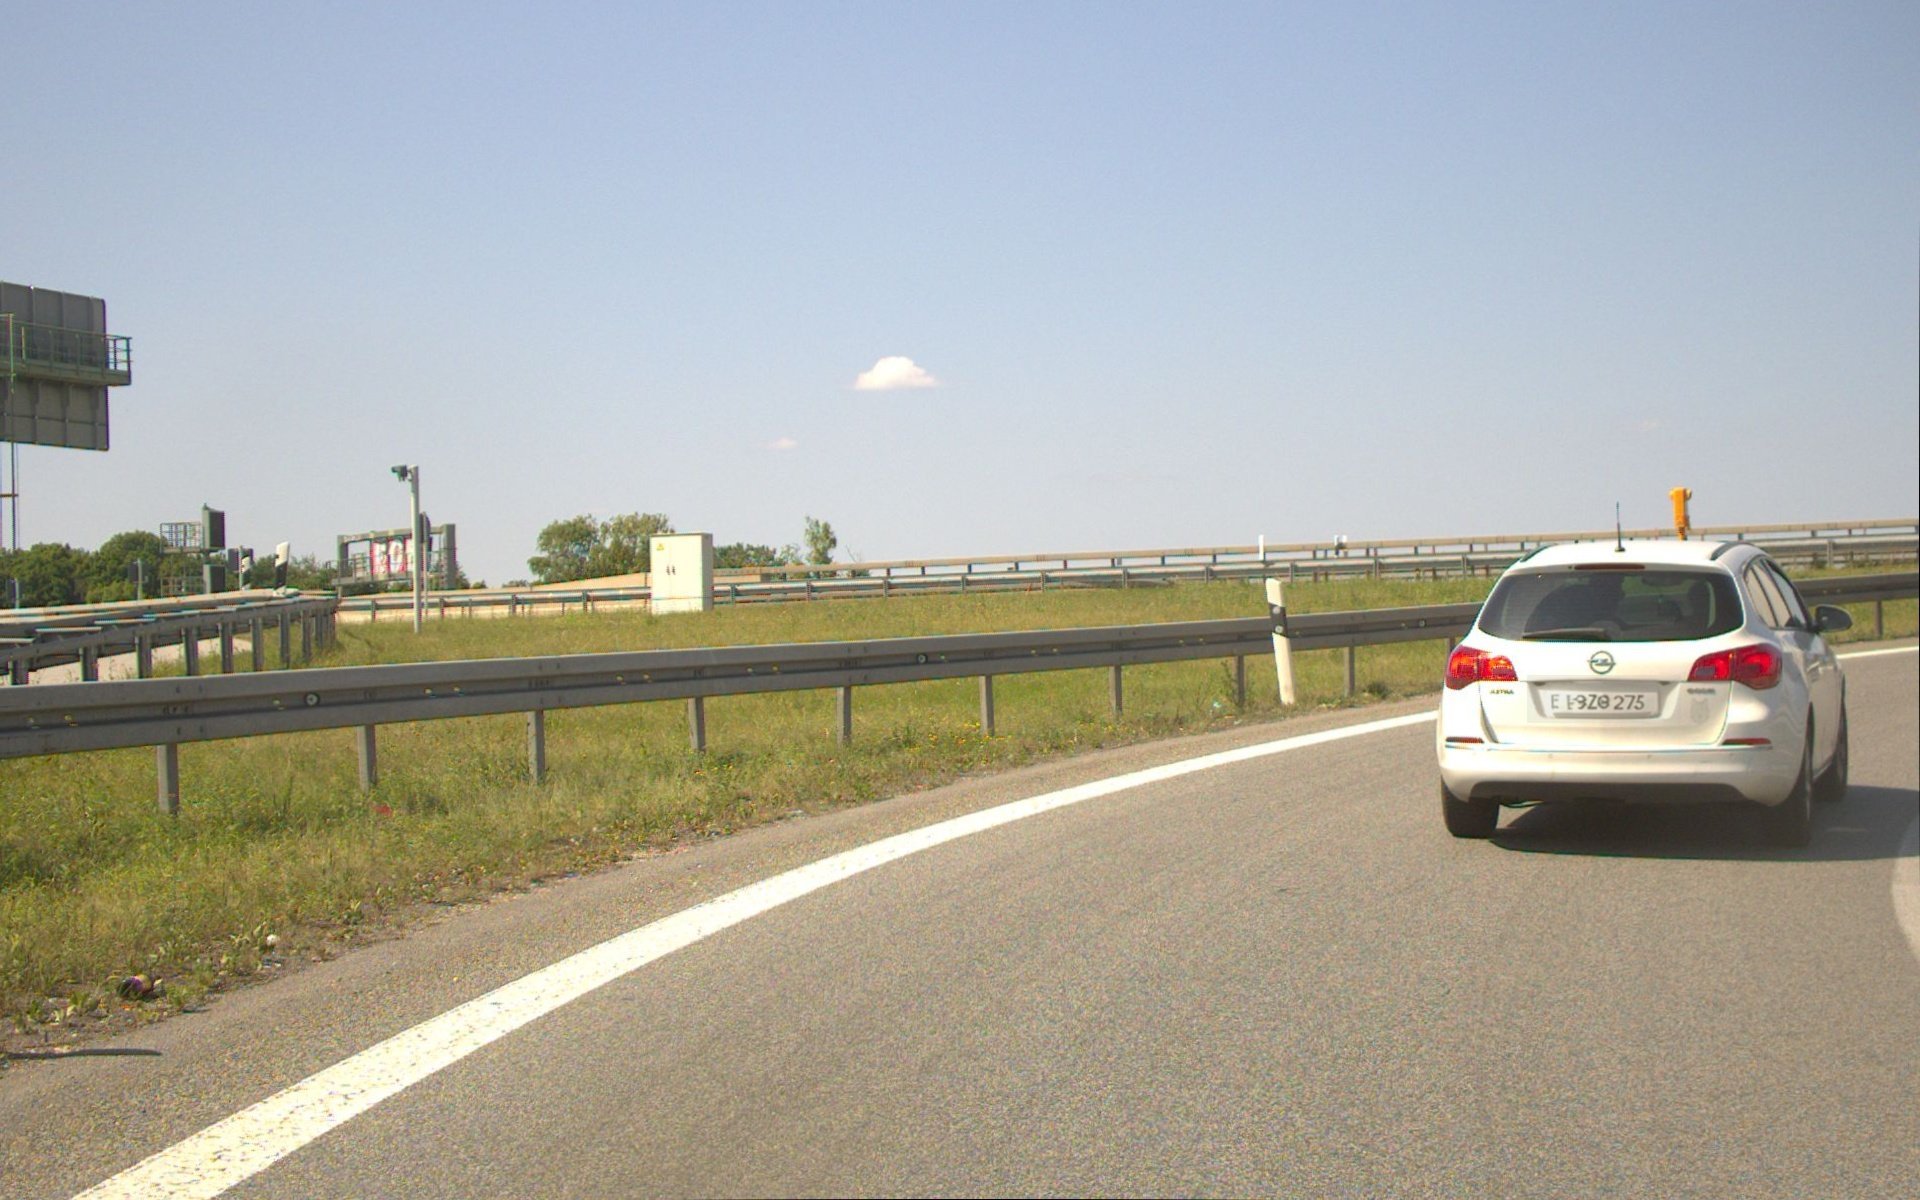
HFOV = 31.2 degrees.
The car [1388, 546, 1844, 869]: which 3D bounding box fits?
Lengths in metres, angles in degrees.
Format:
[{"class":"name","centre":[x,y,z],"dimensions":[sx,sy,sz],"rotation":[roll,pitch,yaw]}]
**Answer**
[{"class":"car","centre":[3.559,0.478,18.017],"dimensions":[1.856,1.438,4.368],"rotation":[-2,1,17]}]
